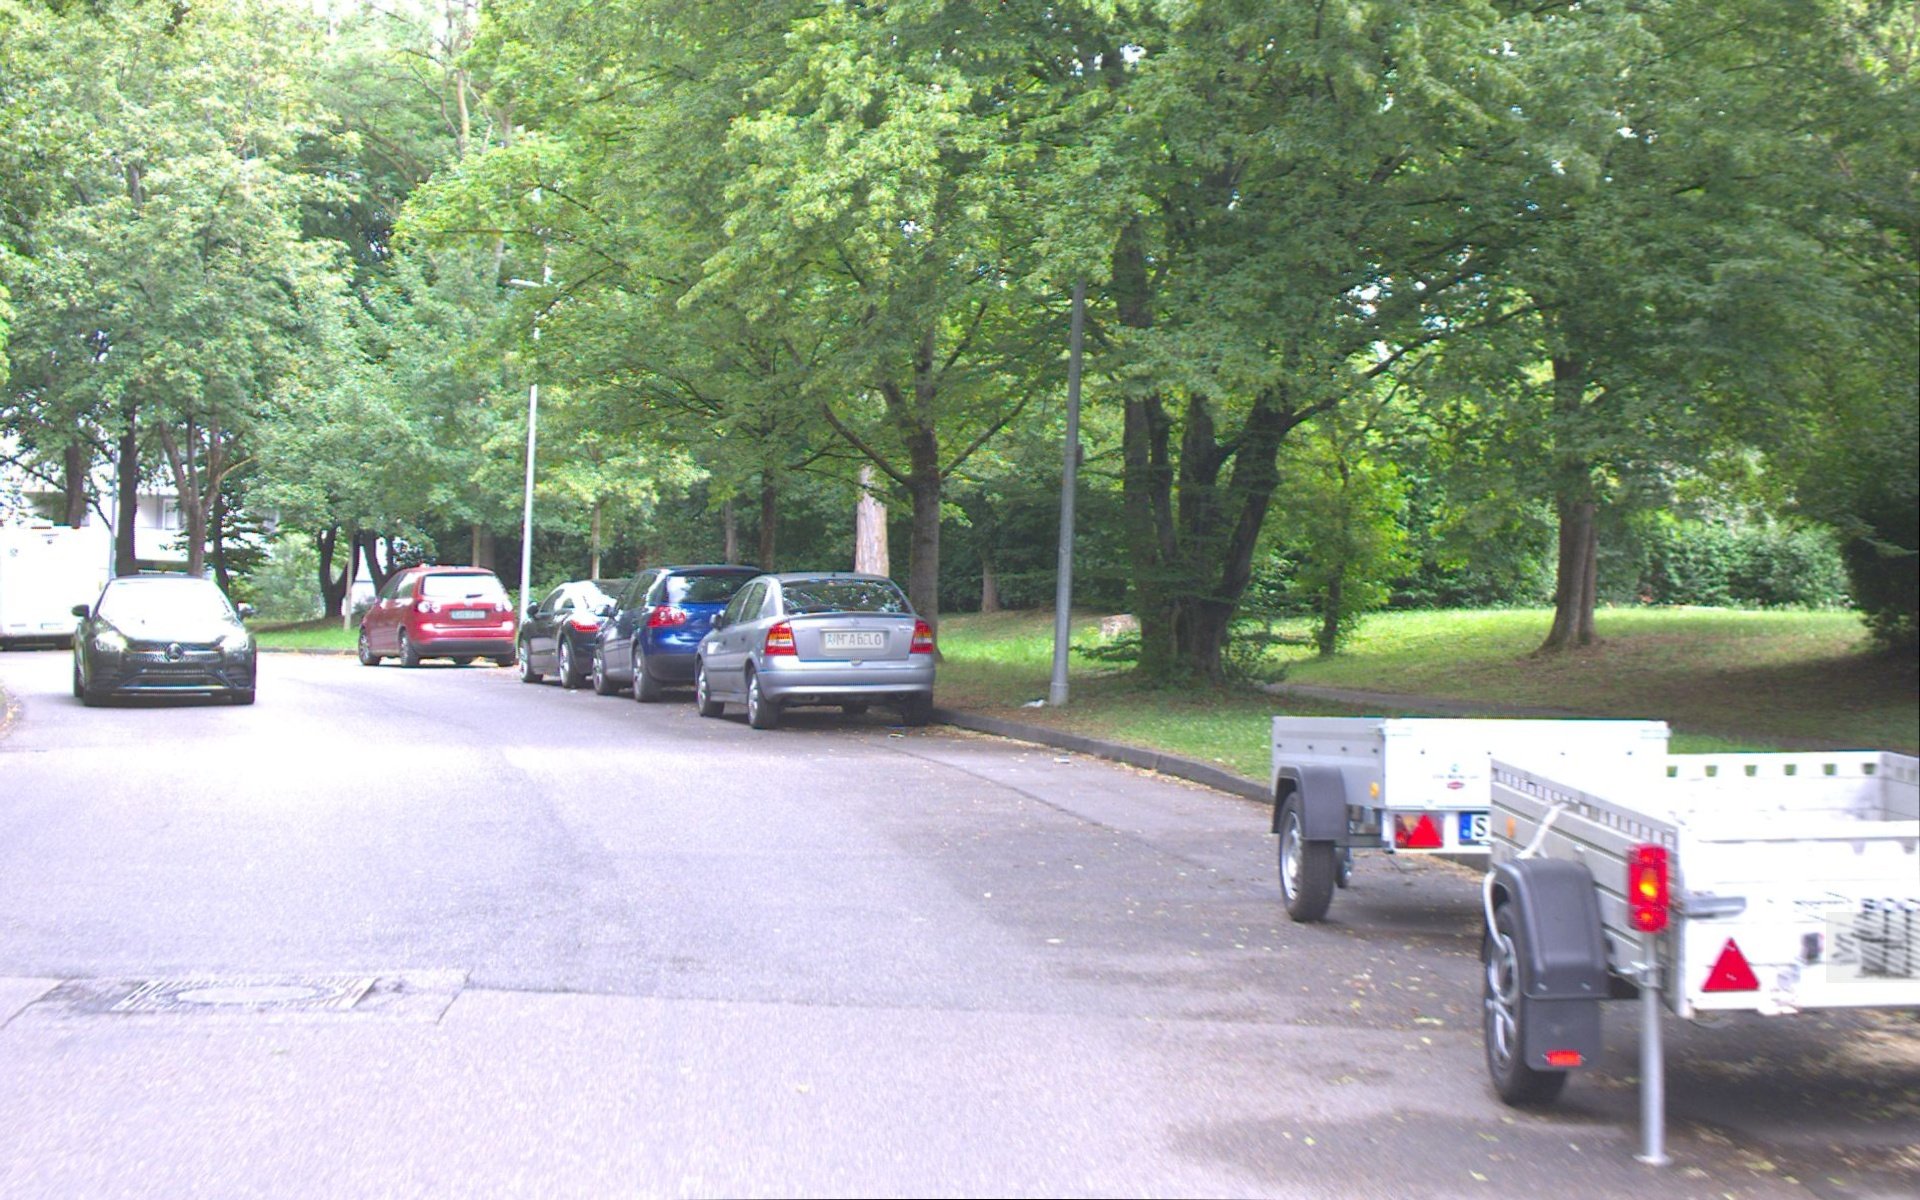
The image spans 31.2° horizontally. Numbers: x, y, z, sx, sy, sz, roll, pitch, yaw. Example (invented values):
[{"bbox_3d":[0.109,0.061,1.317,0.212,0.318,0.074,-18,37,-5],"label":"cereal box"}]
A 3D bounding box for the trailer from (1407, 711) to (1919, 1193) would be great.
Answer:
[{"bbox_3d":[2.308,0.934,10.350,1.357,0.965,3.893,2,1,0],"label":"trailer"}]

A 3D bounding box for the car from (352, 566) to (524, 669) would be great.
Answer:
[{"bbox_3d":[-8.265,0.282,54.155,1.738,1.557,4.001,0,-1,-23],"label":"car"}]

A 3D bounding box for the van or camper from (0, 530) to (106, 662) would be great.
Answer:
[{"bbox_3d":[-22.163,-0.113,80.895,2.429,2.997,5.208,-1,1,-33],"label":"van or camper"}]

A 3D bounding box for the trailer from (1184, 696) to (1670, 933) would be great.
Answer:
[{"bbox_3d":[1.947,0.889,15.137,1.363,0.845,3.279,2,-1,-6],"label":"trailer"}]

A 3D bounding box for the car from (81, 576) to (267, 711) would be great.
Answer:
[{"bbox_3d":[-8.882,0.493,39.122,1.790,1.384,4.492,2,-1,-10],"label":"car"}]

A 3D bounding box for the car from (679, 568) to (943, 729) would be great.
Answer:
[{"bbox_3d":[-1.488,0.449,32.786,1.717,1.427,3.950,-1,0,-14],"label":"car"}]

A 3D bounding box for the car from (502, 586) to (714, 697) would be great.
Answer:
[{"bbox_3d":[-4.545,0.511,43.857,1.749,1.332,4.417,1,0,-18],"label":"car"}]

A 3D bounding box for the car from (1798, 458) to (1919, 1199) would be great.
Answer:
[{"bbox_3d":[2.611,0.609,4.250,1.775,1.657,4.841,2,0,-2],"label":"car"}]

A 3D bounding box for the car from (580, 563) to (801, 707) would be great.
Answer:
[{"bbox_3d":[-3.137,0.401,39.295,1.713,1.504,4.182,2,-1,-15],"label":"car"}]
